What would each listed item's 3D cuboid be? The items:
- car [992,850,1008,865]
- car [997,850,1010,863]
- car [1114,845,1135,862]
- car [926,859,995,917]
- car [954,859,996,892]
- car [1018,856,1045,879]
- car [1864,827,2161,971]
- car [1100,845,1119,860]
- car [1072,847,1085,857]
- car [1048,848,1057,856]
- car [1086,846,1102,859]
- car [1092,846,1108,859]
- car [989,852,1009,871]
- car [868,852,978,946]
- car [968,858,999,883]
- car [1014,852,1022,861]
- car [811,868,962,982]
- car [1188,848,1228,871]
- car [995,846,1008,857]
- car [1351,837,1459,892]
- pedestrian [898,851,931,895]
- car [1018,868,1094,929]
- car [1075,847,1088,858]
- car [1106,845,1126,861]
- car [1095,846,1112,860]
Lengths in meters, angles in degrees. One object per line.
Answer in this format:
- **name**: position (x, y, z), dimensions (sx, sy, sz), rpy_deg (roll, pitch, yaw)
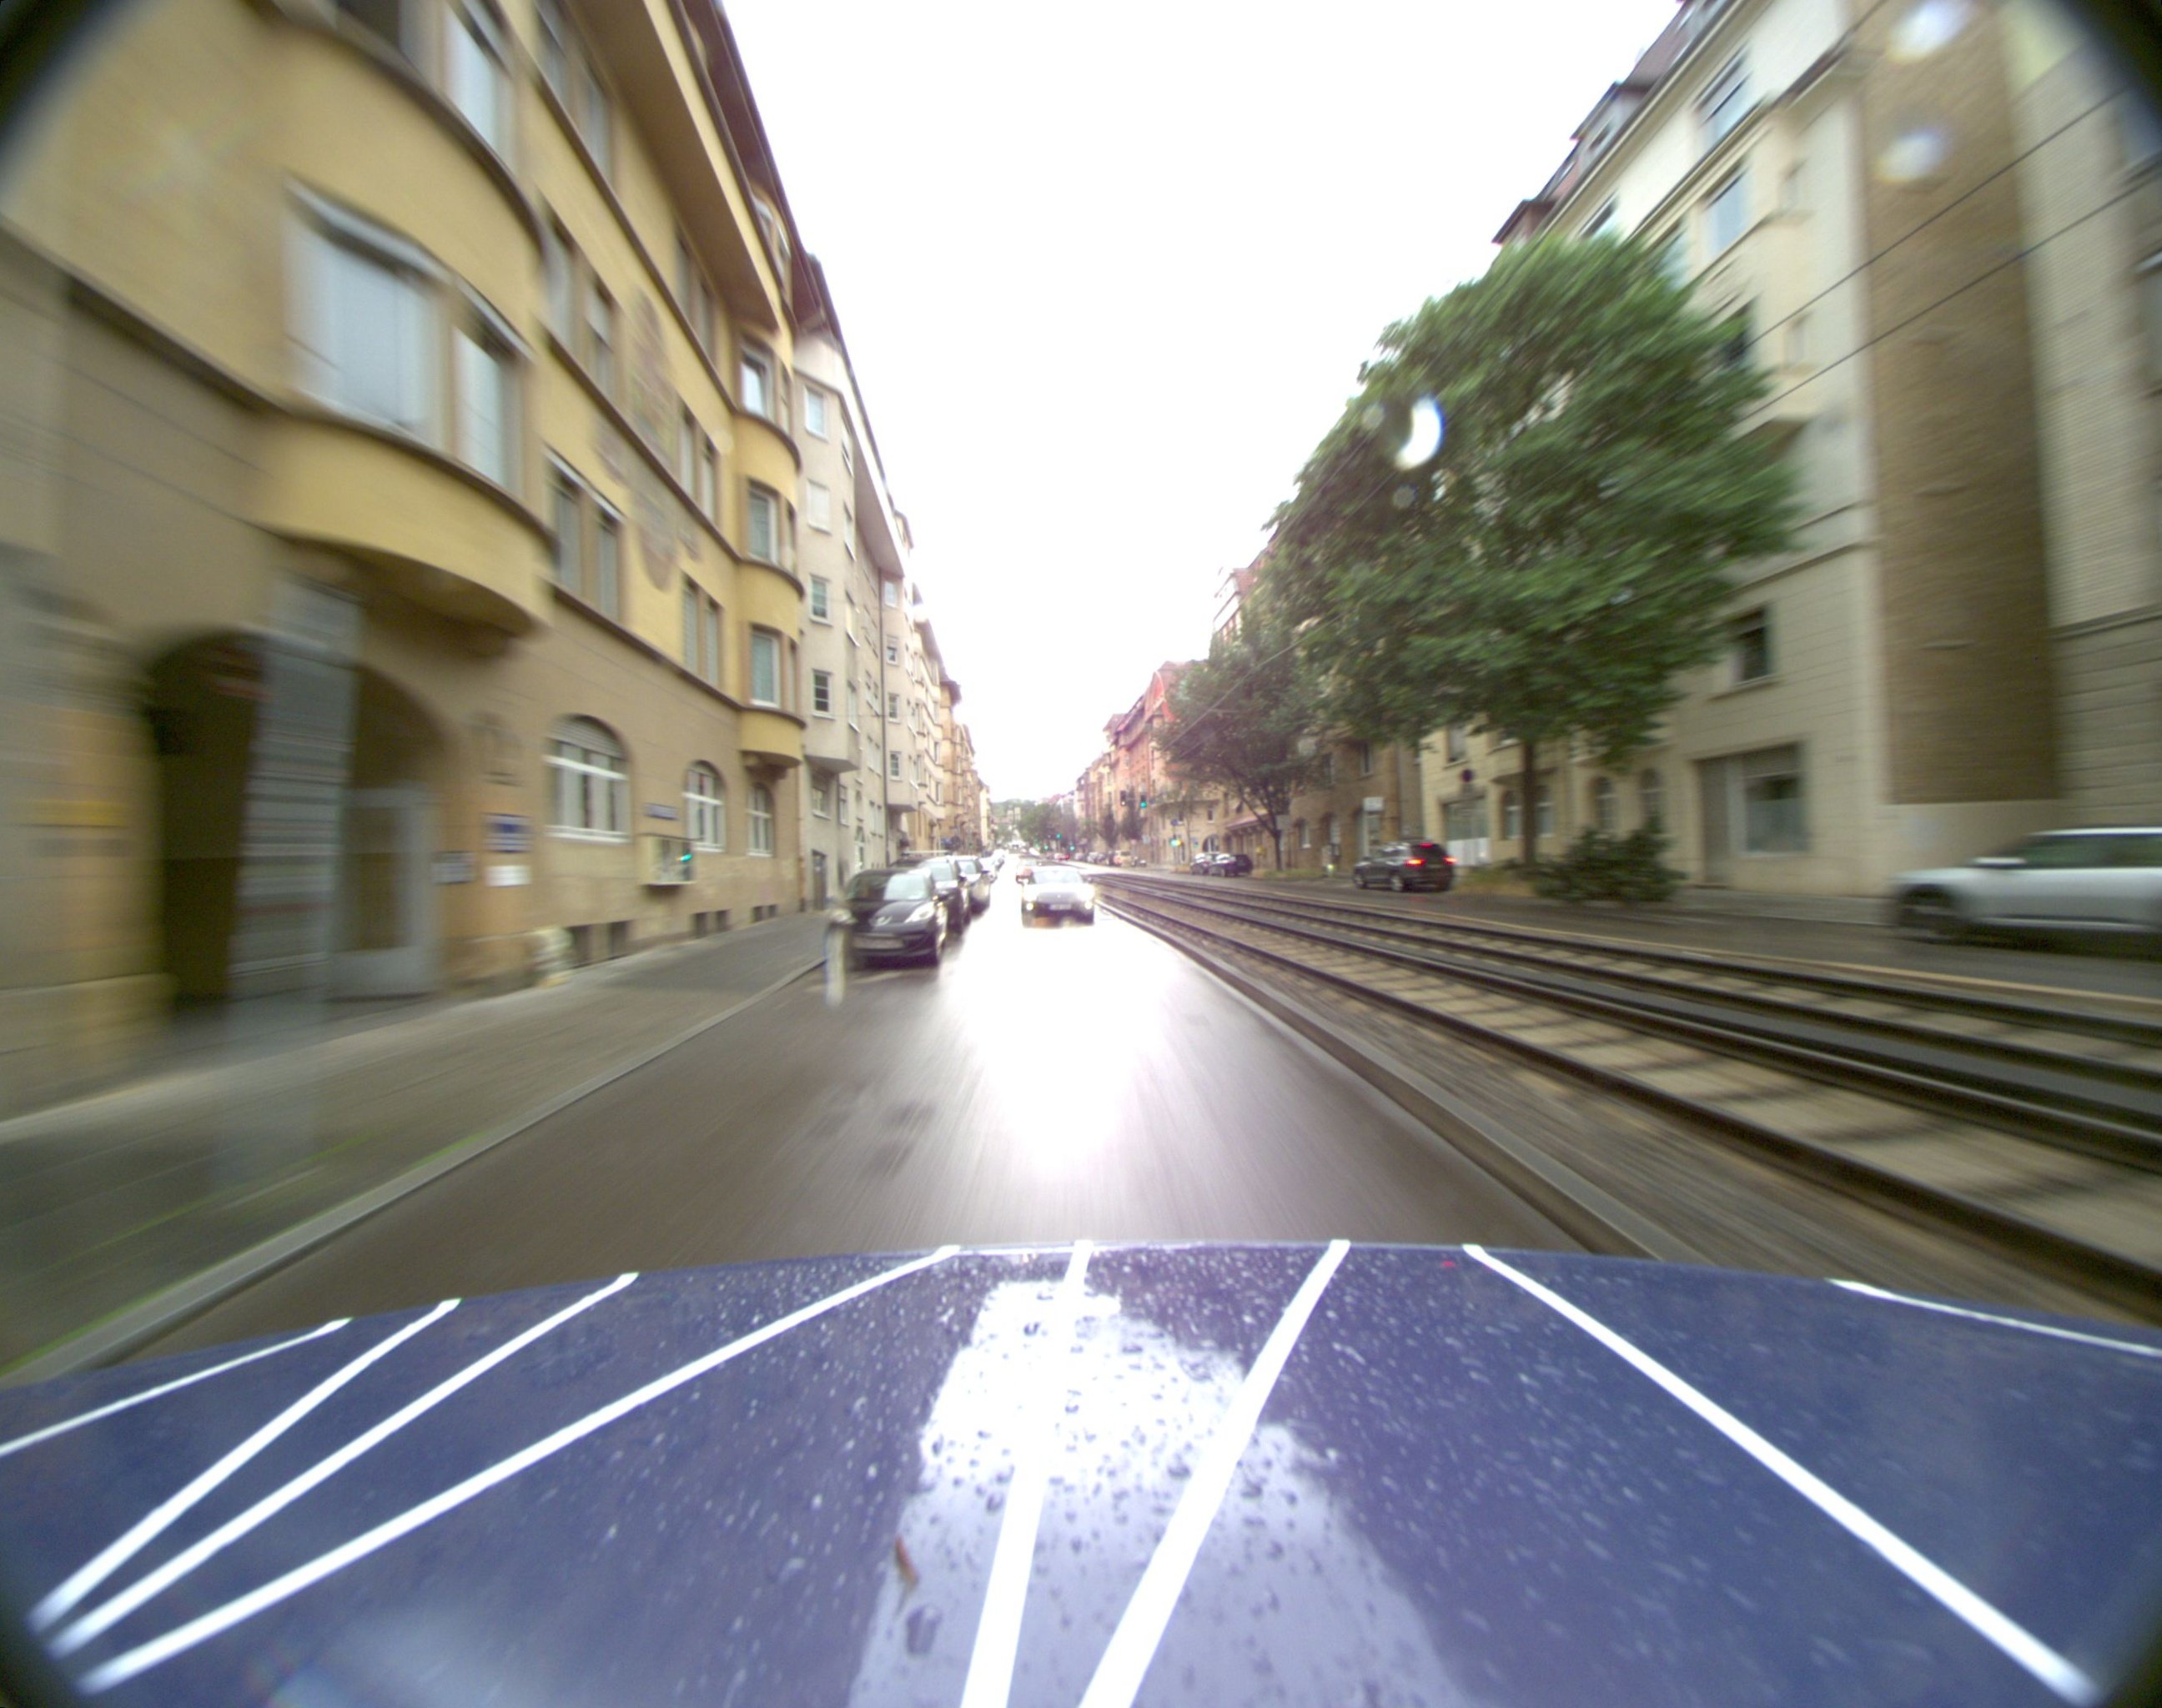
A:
- **car**: position (-10.969, 0.502, 102.677), dimensions (1.999, 1.958, 3.998), rpy_deg (-2, 0, -5)
- **car**: position (-12.019, 0.410, 118.033), dimensions (1.999, 1.958, 3.998), rpy_deg (-2, 0, -5)
- **car**: position (5.193, -0.094, 91.241), dimensions (1.999, 1.958, 3.998), rpy_deg (-2, 0, -5)
- **car**: position (-3.548, 0.964, 23.029), dimensions (1.649, 1.536, 4.026), rpy_deg (-1, 0, -3)
- **car**: position (-5.056, 0.996, 36.600), dimensions (1.649, 1.424, 4.026), rpy_deg (-1, 0, -3)
- **car**: position (-3.308, 0.889, 50.267), dimensions (1.690, 1.451, 3.297), rpy_deg (0, 0, -5)
- **car**: position (12.559, 0.469, 9.144), dimensions (1.649, 1.571, 4.337), rpy_deg (-1, 0, -3)
- **car**: position (3.923, -0.173, 105.530), dimensions (1.999, 1.958, 3.998), rpy_deg (-2, 0, -5)
- **car**: position (-0.465, -0.365, 145.164), dimensions (1.999, 1.958, 3.998), rpy_deg (-2, 0, -5)
- **car**: position (-7.425, -0.572, 195.302), dimensions (1.999, 1.958, 3.998), rpy_deg (-2, 0, -5)
- **car**: position (2.037, -0.246, 121.341), dimensions (1.999, 1.958, 3.998), rpy_deg (-2, 0, -5)
- **car**: position (2.850, -0.222, 115.495), dimensions (1.999, 1.958, 3.998), rpy_deg (-2, 0, -5)
- **car**: position (-8.745, 0.770, 81.046), dimensions (1.999, 1.958, 3.998), rpy_deg (-2, 0, -5)
- **car**: position (-3.356, 0.866, 16.913), dimensions (1.742, 1.788, 4.263), rpy_deg (-1, 0, -3)
- **car**: position (-6.153, 0.998, 48.412), dimensions (1.649, 1.469, 4.026), rpy_deg (-1, 0, -3)
- **car**: position (-16.015, 0.633, 192.254), dimensions (1.999, 1.958, 3.998), rpy_deg (-2, 0, -5)
- **car**: position (-3.000, 1.019, 12.497), dimensions (1.634, 1.443, 3.998), rpy_deg (-1, 0, -3)
- **car**: position (8.801, 0.383, 52.950), dimensions (1.649, 1.481, 4.163), rpy_deg (-1, 0, -5)
- **car**: position (-14.390, -0.448, 137.657), dimensions (1.999, 1.761, 3.999), rpy_deg (-2, 0, -3)
- **car**: position (11.071, 0.331, 26.303), dimensions (1.649, 1.696, 4.096), rpy_deg (-1, 0, -5)
- **pedestrian**: position (-6.739, 0.752, 30.838), dimensions (1.126, 1.703, 1.101), rpy_deg (-2, 1, -7)
- **car**: position (-0.698, 1.048, 19.398), dimensions (1.705, 1.280, 4.194), rpy_deg (-1, 0, -3)
- **car**: position (0.050, -0.332, 139.143), dimensions (1.999, 1.958, 3.998), rpy_deg (-2, 0, -5)
- **car**: position (4.508, -0.132, 98.414), dimensions (1.999, 1.958, 3.998), rpy_deg (-2, 0, -5)
- **car**: position (3.302, -0.196, 110.734), dimensions (1.999, 1.958, 3.998), rpy_deg (-2, 0, -5)
